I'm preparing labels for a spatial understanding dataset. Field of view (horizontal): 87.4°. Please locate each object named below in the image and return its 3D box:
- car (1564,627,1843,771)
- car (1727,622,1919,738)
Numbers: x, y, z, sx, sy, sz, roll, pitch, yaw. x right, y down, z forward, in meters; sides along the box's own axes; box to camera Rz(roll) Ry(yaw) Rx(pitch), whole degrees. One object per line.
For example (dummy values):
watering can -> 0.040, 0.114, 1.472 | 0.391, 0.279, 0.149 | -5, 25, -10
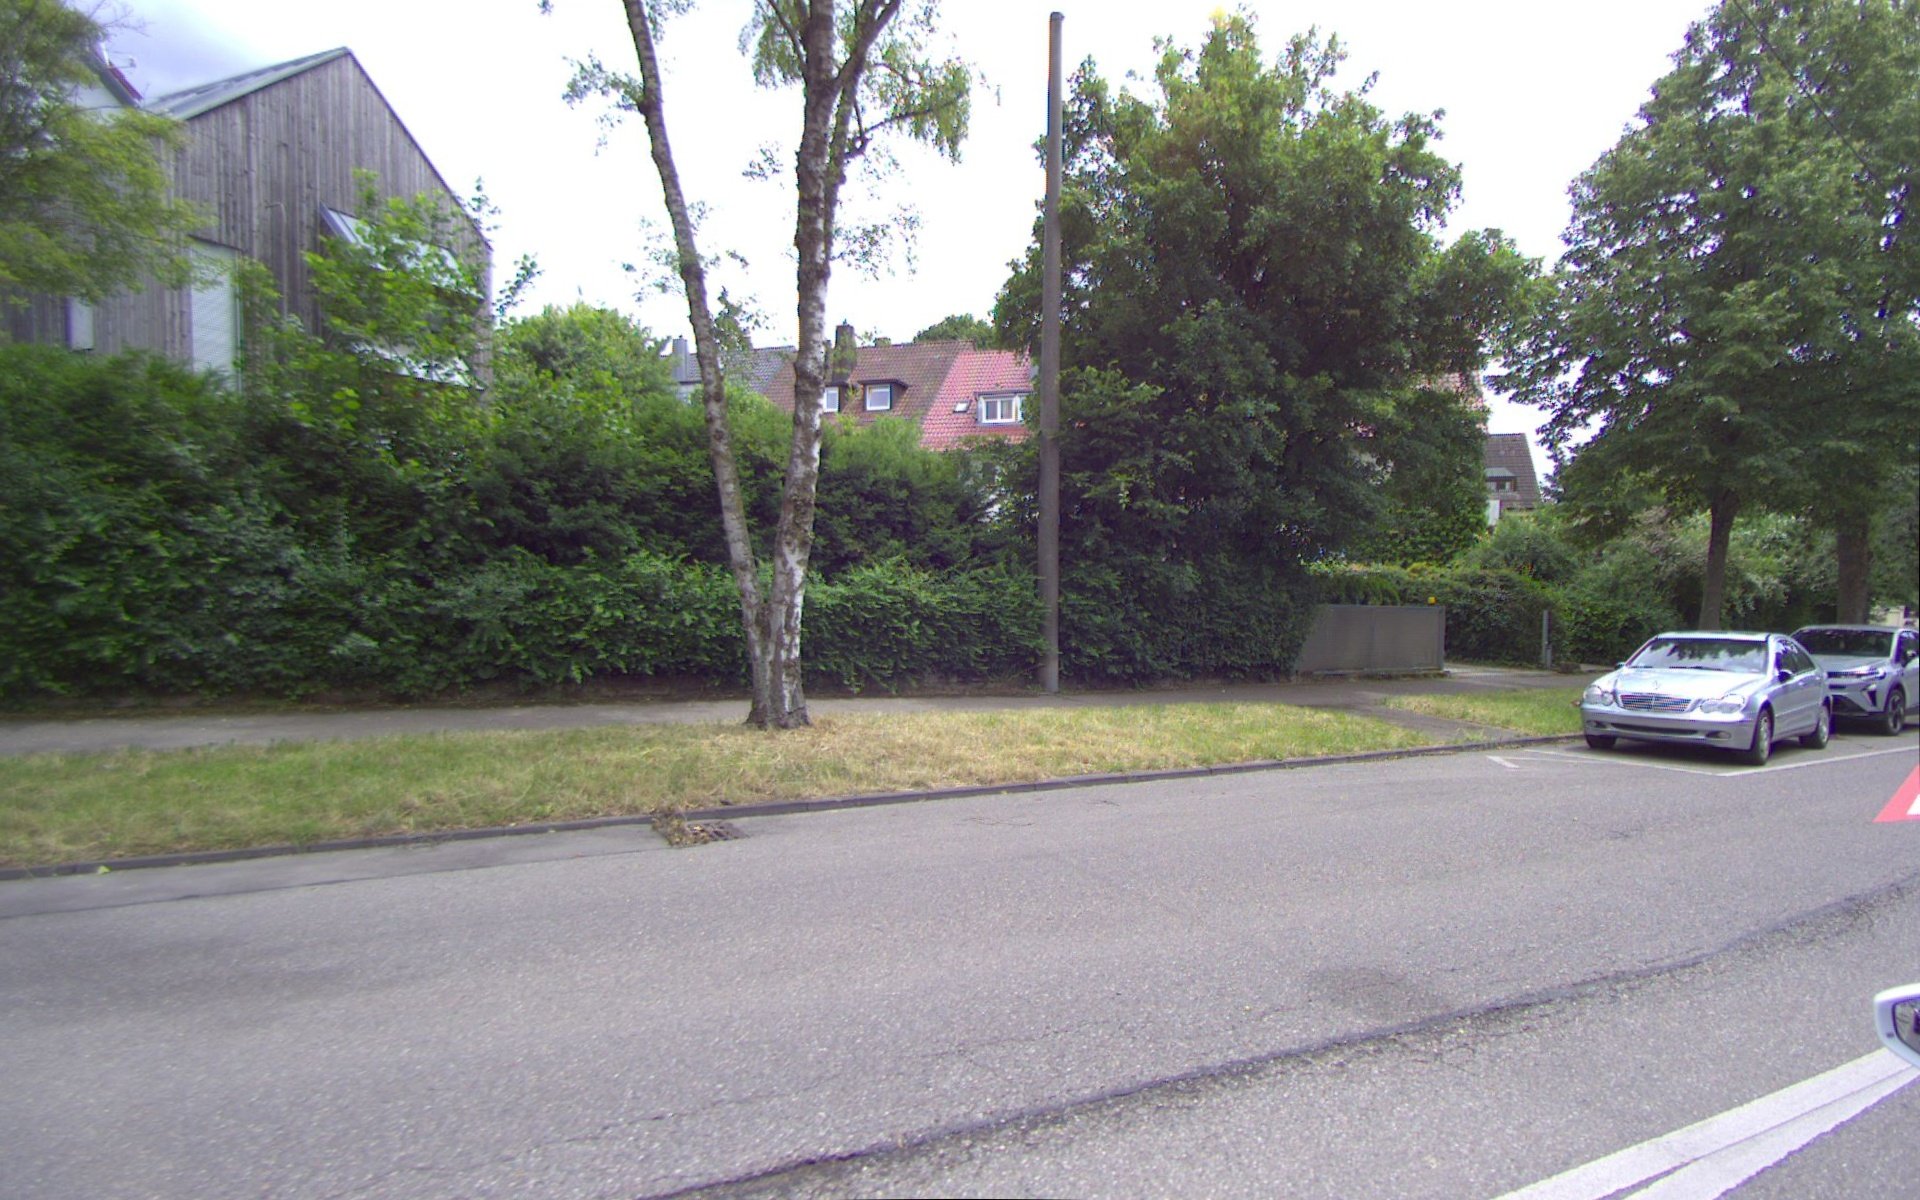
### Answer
car -> 9.275, 1.078, 12.399 | 4.434, 1.435, 1.722 | 1, 0, -39
car -> 13.926, 1.160, 15.752 | 4.144, 1.558, 1.725 | 1, 0, -33
